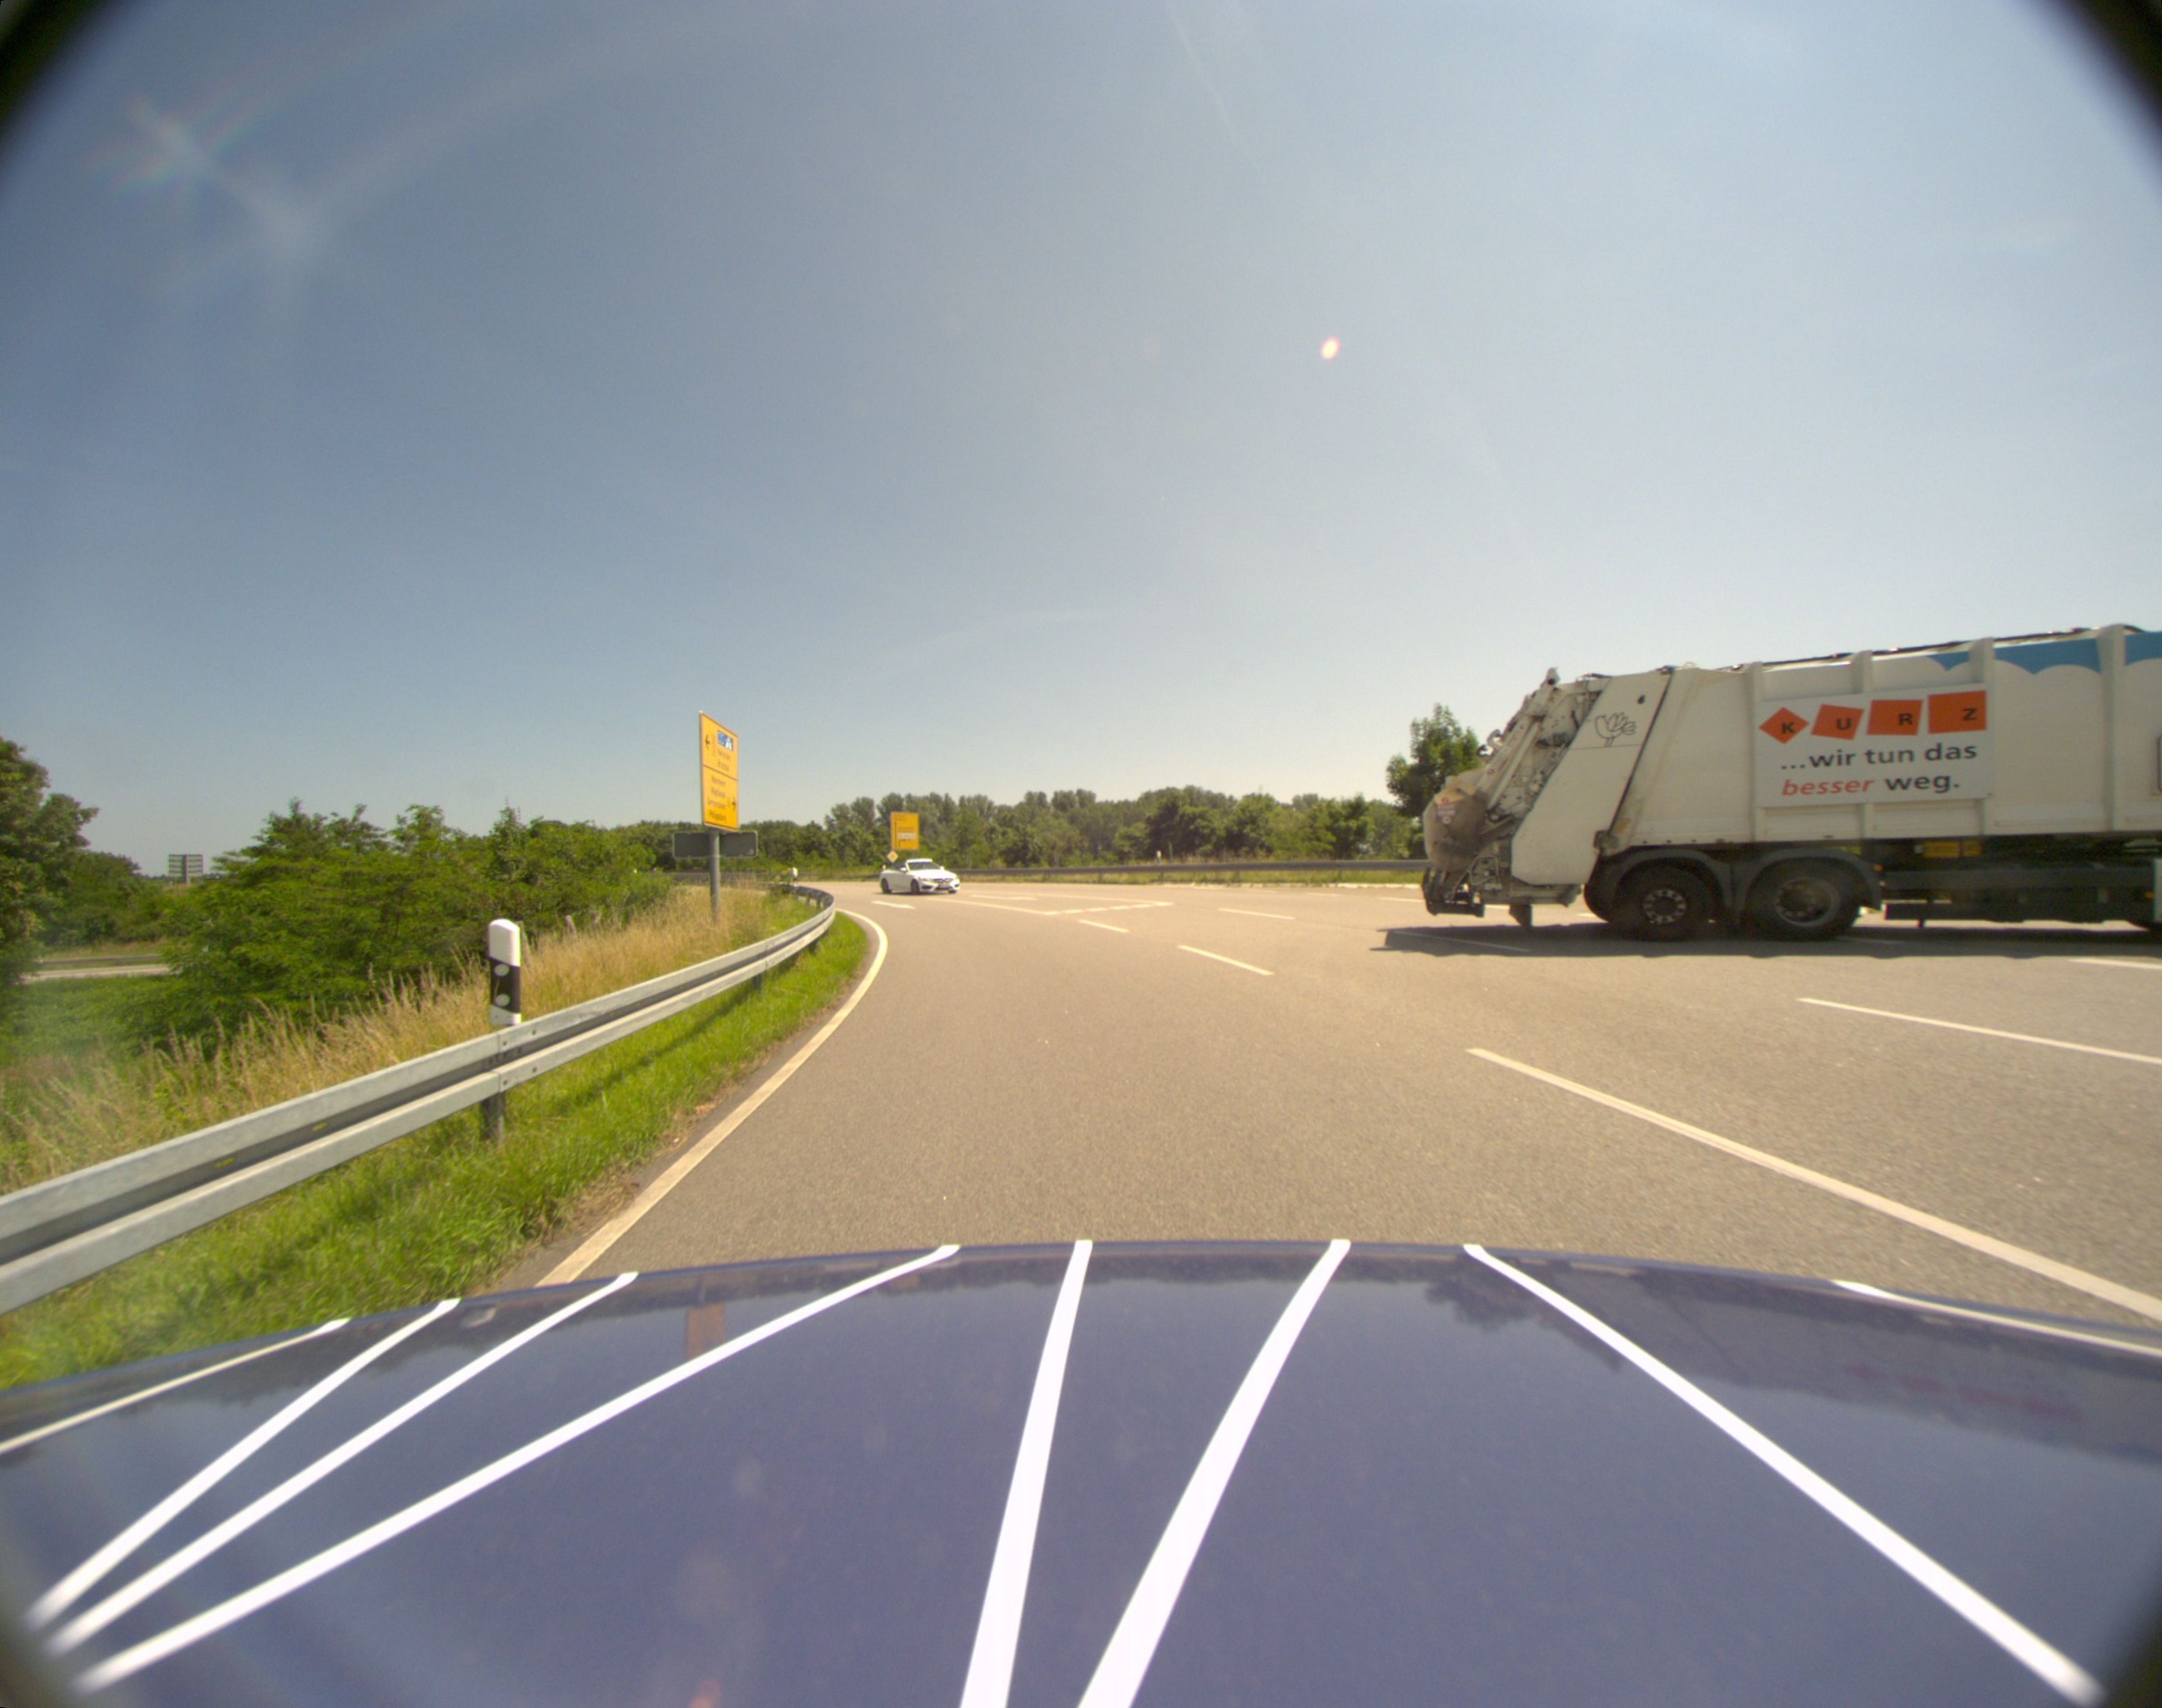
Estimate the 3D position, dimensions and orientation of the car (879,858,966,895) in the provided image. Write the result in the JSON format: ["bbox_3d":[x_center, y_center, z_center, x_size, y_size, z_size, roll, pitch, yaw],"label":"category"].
[{"bbox_3d":[-6.664,0.927,31.717,1.818,1.407,4.099,-3,0,-39],"label":"car"}]

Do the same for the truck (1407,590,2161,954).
[{"bbox_3d":[9.677,-0.735,9.719,9.924,3.647,2.827,-3,-1,25],"label":"truck"}]
